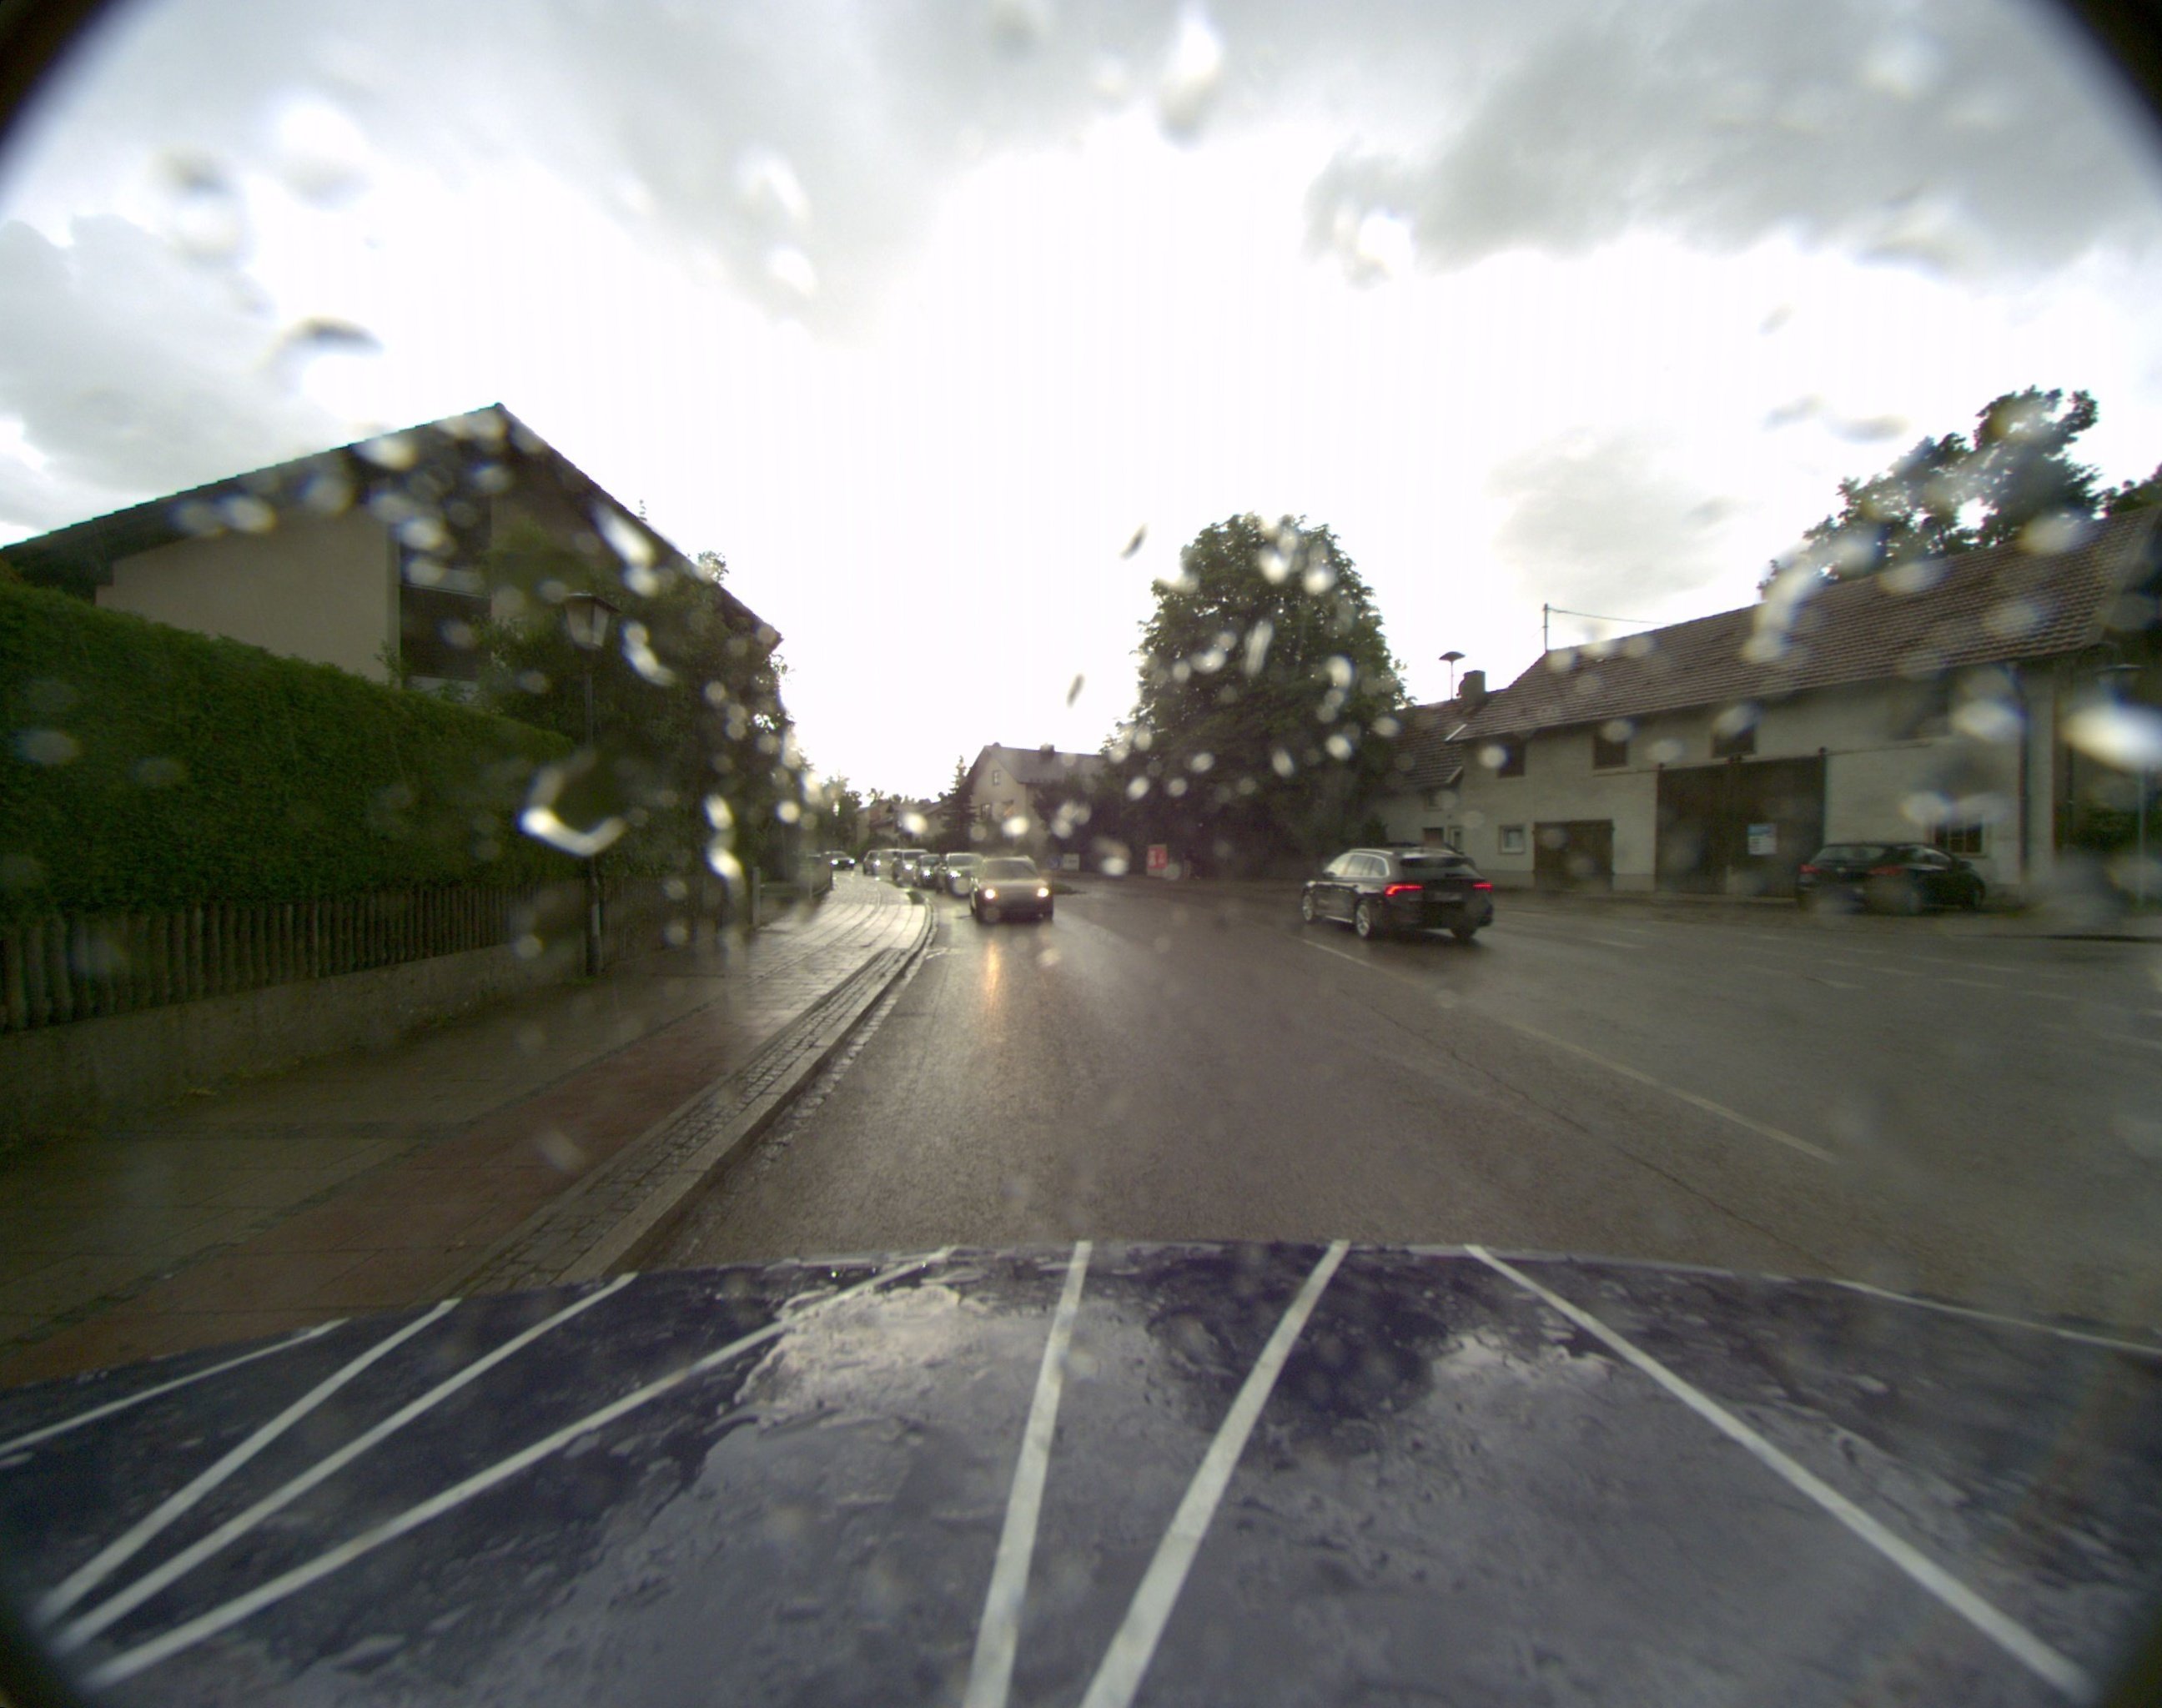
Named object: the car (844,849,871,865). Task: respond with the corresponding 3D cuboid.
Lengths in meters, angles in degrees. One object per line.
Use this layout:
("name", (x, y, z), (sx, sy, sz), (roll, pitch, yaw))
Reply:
("car", (-23.160, 0.266, 78.665), (1.797, 1.539, 4.271), (-3, 1, -29))

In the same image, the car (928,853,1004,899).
("car", (-4.396, 0.727, 28.257), (1.796, 1.471, 5.376), (-3, 1, -19))

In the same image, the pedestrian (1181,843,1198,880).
("pedestrian", (4.830, 0.337, 33.866), (0.652, 1.619, 0.479), (0, 1, 19))

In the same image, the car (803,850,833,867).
("car", (-25.262, 0.390, 72.967), (1.798, 1.539, 4.271), (-3, 1, -31))

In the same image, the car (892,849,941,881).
("car", (-8.759, 0.534, 40.179), (1.797, 1.539, 4.273), (-3, 1, -22))

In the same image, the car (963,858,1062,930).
("car", (-1.777, 0.857, 18.352), (1.795, 1.387, 4.276), (-2, 1, -12))

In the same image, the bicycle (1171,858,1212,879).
("bicycle", (5.020, 0.643, 34.671), (0.665, 0.897, 1.869), (-2, 1, -42))

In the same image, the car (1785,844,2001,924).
("car", (16.789, 0.535, 15.699), (4.286, 1.428, 1.817), (-1, 1, -25))

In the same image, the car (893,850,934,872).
("car", (-13.028, 0.520, 58.863), (2.003, 1.586, 4.182), (-2, 1, -28))

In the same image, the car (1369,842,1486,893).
("car", (11.469, 0.431, 25.051), (4.290, 1.539, 1.812), (1, 0, -40))

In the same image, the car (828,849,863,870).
("car", (-19.318, 0.440, 62.241), (1.798, 1.539, 4.271), (-3, 1, -30))

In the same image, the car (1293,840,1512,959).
("car", (5.218, 0.651, 13.070), (1.788, 1.653, 4.445), (-1, 0, -1))

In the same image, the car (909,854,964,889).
("car", (-6.554, 0.730, 34.114), (1.796, 1.387, 4.274), (-2, 1, -19))

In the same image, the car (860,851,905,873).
("car", (-13.278, 0.499, 50.651), (1.798, 1.365, 4.271), (-3, 1, -30))
